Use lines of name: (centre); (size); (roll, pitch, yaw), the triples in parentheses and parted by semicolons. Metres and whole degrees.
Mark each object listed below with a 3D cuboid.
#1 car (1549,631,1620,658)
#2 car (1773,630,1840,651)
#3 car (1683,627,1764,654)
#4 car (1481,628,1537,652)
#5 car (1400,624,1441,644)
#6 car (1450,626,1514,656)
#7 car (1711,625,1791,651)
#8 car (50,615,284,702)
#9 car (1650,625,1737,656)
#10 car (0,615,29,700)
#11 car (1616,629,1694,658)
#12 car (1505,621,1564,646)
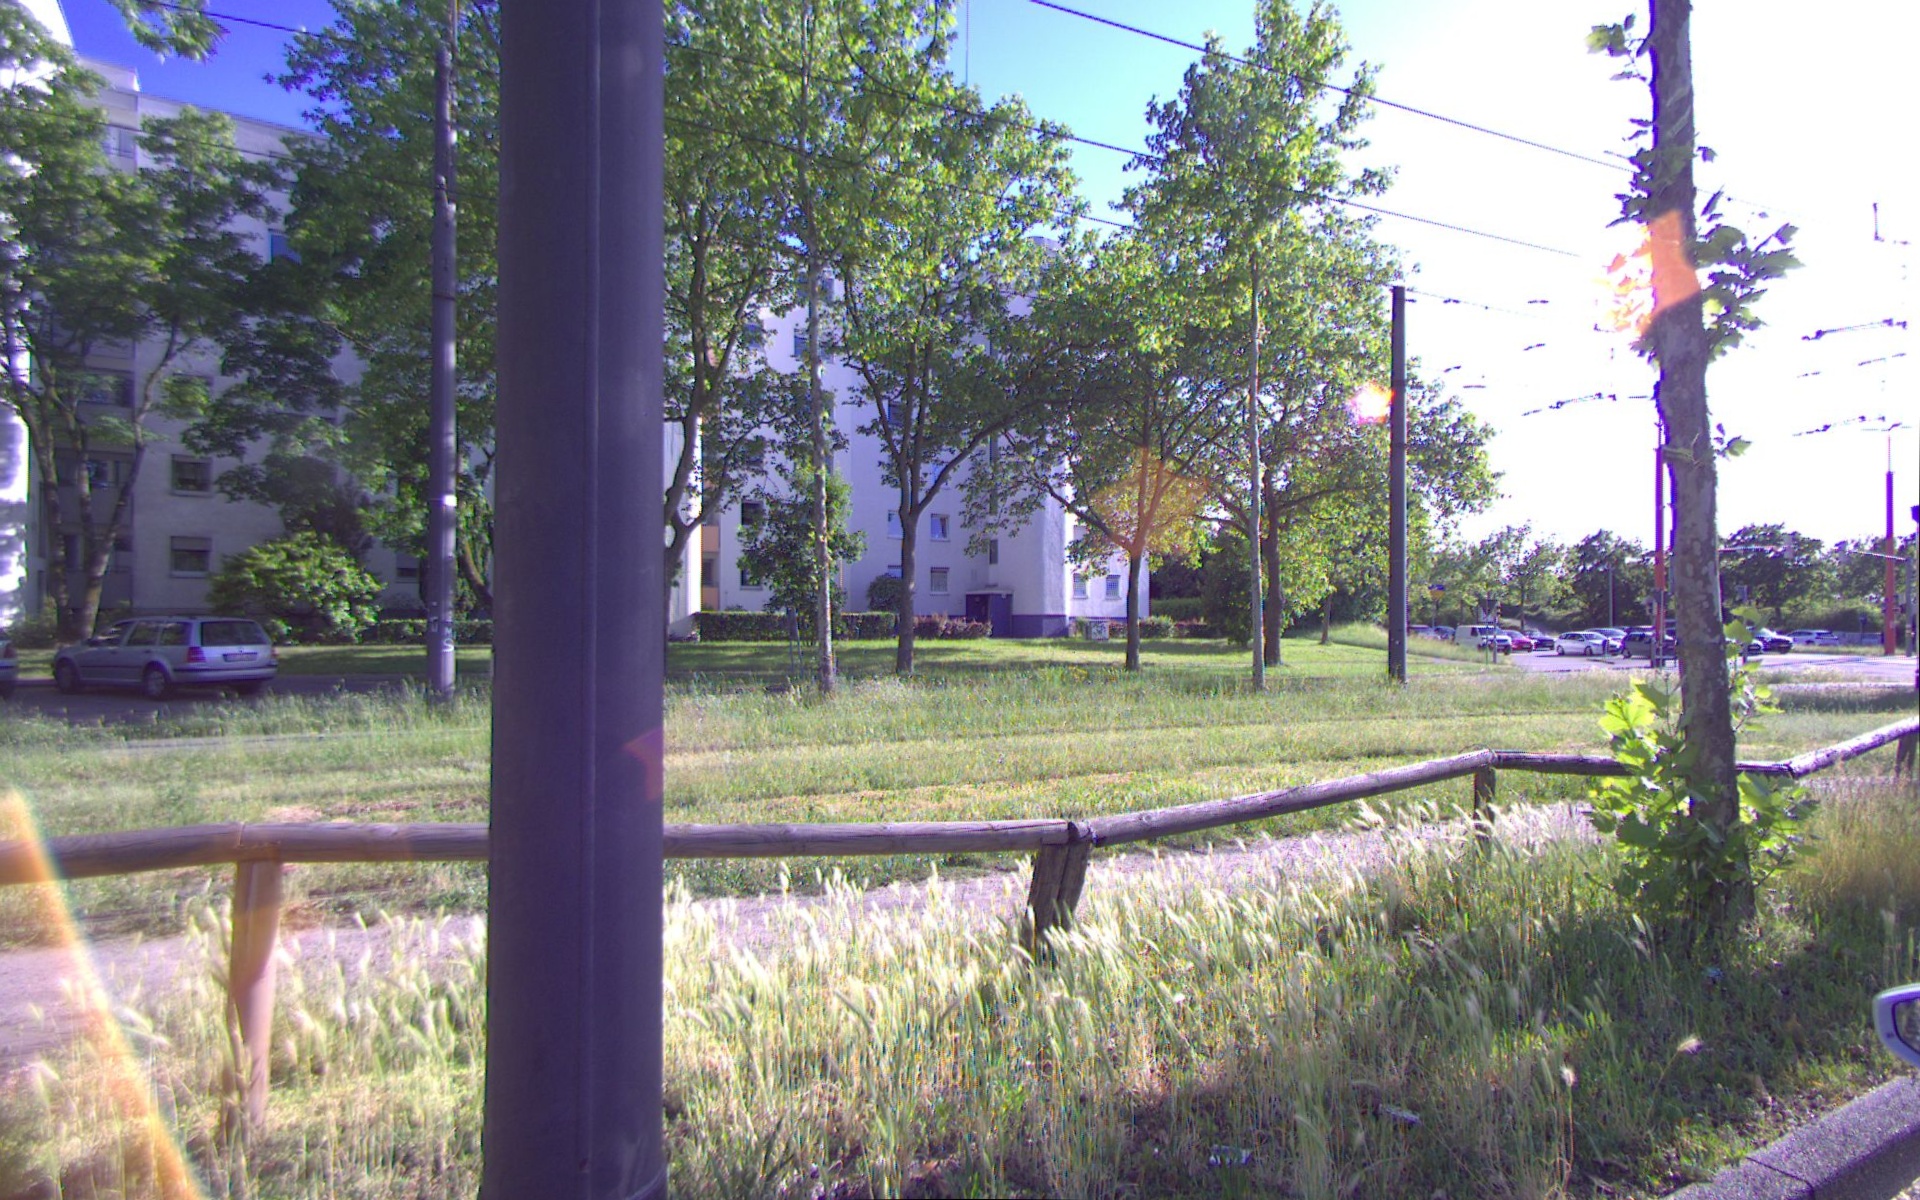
car: (38.921, 2.758, 62.733); (1.624, 1.540, 4.638); (1, -1, 1)
car: (63.163, 2.988, 75.035); (1.625, 1.421, 3.801); (1, -1, -5)
car: (45.577, 2.394, 60.060); (1.513, 1.434, 4.154); (1, -1, -3)
car: (38.451, 2.779, 70.449); (1.624, 1.540, 4.200); (1, -1, 1)
car: (38.647, 2.820, 84.391); (1.624, 1.540, 4.200); (1, -1, 1)
car: (34.474, 2.677, 66.484); (1.796, 1.845, 4.904); (1, -1, 2)
car: (48.656, 2.323, 61.893); (1.513, 1.434, 4.154); (1, -1, -3)
car: (-14.534, 1.015, 18.429); (3.830, 1.421, 1.581); (1, 0, 20)
car: (42.330, 2.310, 58.103); (1.624, 1.669, 4.644); (1, -1, 1)
car: (-17.983, 0.952, 17.155); (3.567, 1.421, 1.581); (1, 0, 20)
car: (38.968, 2.409, 56.446); (1.624, 1.460, 3.841); (1, -1, -2)
car: (42.272, 2.434, 74.068); (1.721, 1.669, 4.644); (1, -1, 1)
